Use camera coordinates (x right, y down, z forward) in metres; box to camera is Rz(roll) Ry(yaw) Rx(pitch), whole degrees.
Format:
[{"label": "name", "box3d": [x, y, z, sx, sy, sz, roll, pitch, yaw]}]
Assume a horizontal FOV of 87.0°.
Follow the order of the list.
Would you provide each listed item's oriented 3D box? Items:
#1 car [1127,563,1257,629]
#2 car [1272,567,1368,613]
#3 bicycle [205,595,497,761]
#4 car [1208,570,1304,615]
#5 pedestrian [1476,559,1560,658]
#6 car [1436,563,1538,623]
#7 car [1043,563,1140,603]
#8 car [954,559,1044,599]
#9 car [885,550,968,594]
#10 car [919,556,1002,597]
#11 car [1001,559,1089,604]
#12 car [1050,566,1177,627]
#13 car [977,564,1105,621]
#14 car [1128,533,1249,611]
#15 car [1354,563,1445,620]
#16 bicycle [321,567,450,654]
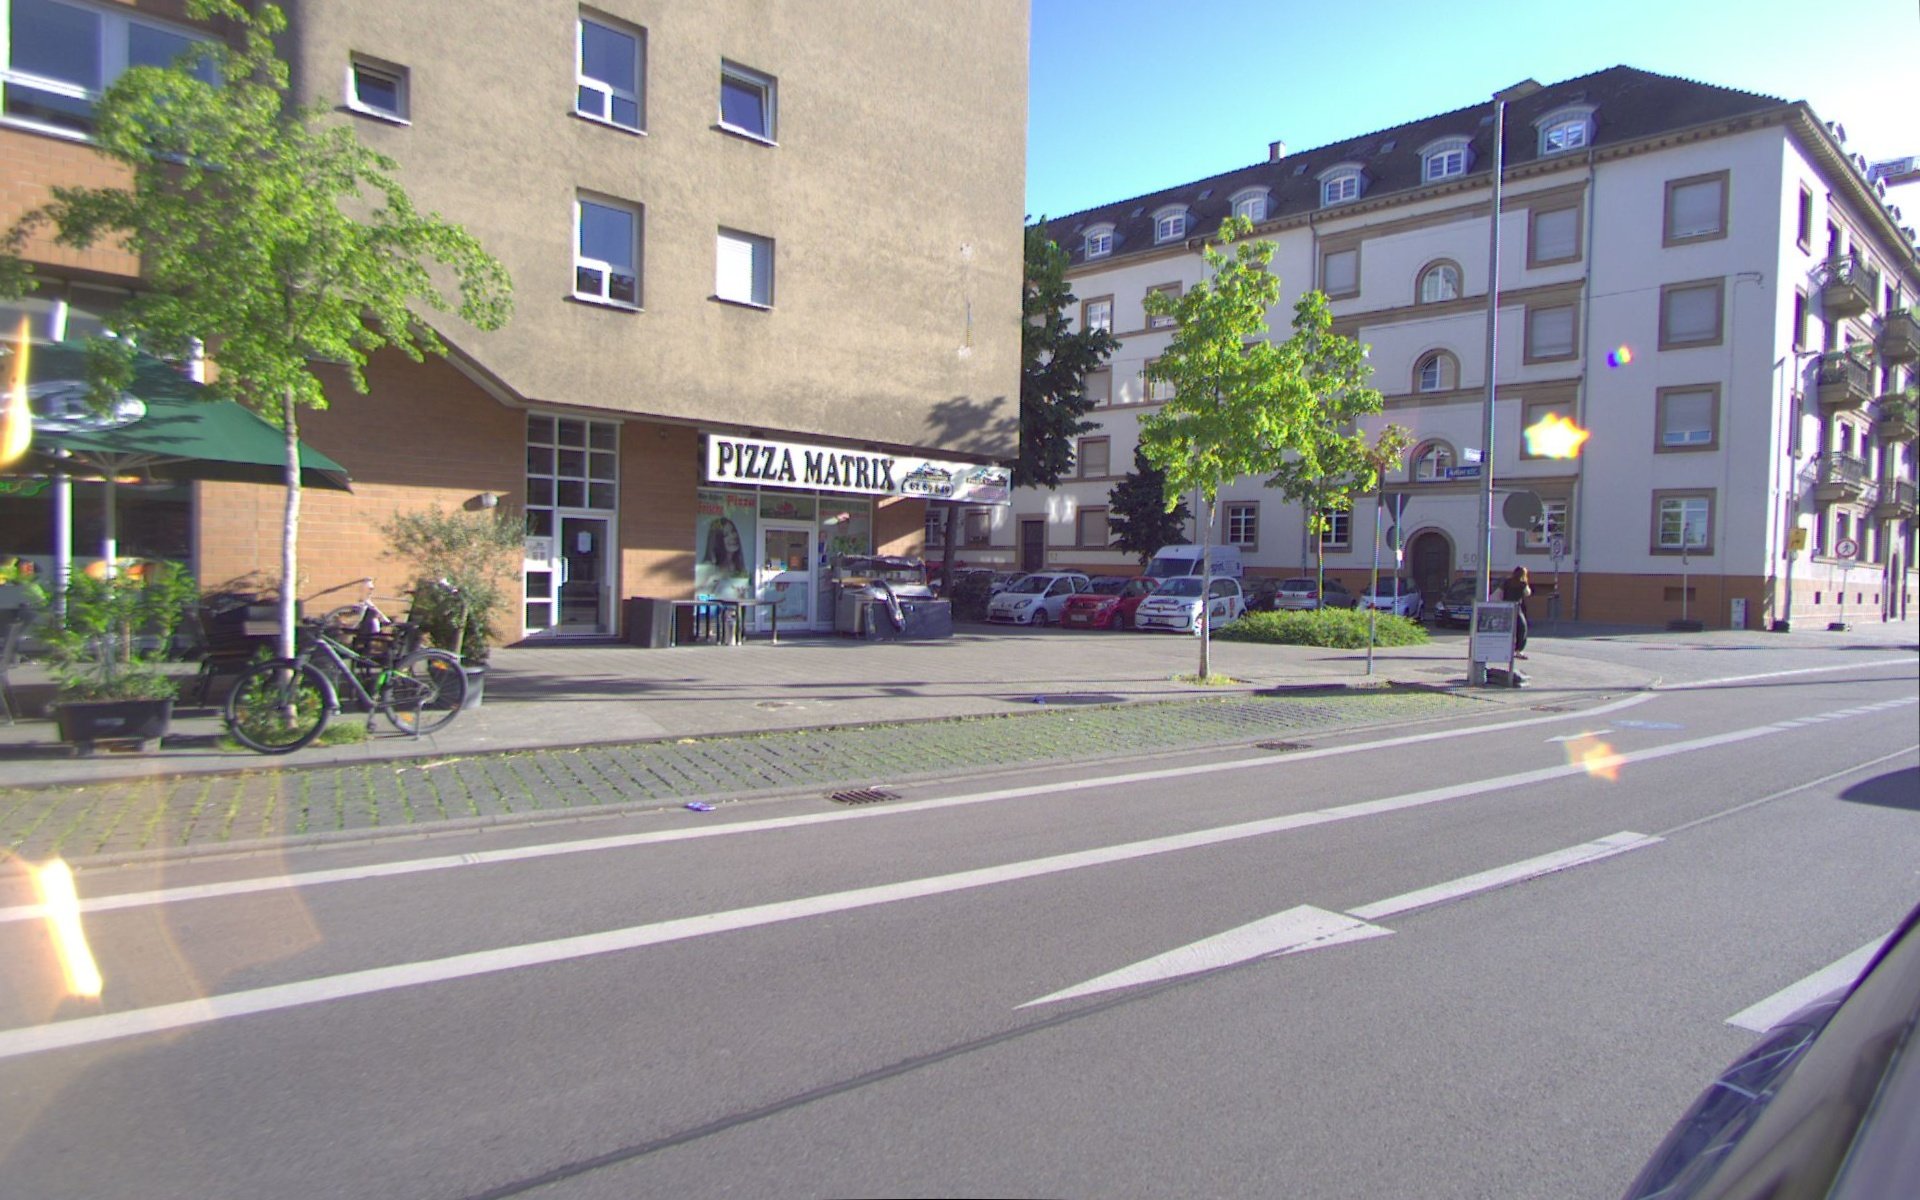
[{"label": "car", "box3d": [5.790, -0.099, 24.975, 1.659, 1.493, 3.783, 0, 0, 39]}, {"label": "car", "box3d": [12.360, -0.378, 34.589, 1.690, 1.447, 4.377, 0, 1, 40]}, {"label": "bicycle", "box3d": [-4.996, 0.573, 8.389, 1.964, 1.093, 0.767, -2, 8, -43]}, {"label": "car", "box3d": [10.731, -0.305, 36.482, 1.690, 1.497, 4.375, 0, 1, 41]}, {"label": "pedestrian", "box3d": [10.576, 0.136, 19.188, 1.083, 1.784, 0.888, 0, 4, -30]}, {"label": "car", "box3d": [16.232, -0.199, 31.088, 1.692, 1.708, 4.371, 0, 0, 43]}, {"label": "car", "box3d": [5.251, -0.664, 40.146, 3.932, 1.509, 1.692, 0, 0, -43]}, {"label": "car", "box3d": [1.728, -0.853, 43.537, 1.690, 1.636, 3.936, 0, 0, 44]}, {"label": "car", "box3d": [-1.534, -1.273, 47.290, 1.689, 1.961, 3.940, 0, 0, 41]}, {"label": "car", "box3d": [0.080, -1.036, 45.719, 1.687, 1.749, 3.944, 0, 0, 38]}, {"label": "car", "box3d": [3.572, -0.727, 41.955, 1.538, 1.761, 3.937, 0, 0, 43]}, {"label": "car", "box3d": [4.052, -0.095, 26.434, 1.630, 1.471, 3.602, 0, 0, 41]}, {"label": "car", "box3d": [2.296, -0.197, 28.075, 1.632, 1.473, 3.675, 0, 0, 44]}, {"label": "car", "box3d": [8.510, -1.123, 37.322, 1.920, 2.640, 5.881, 3, 5, 39]}, {"label": "car", "box3d": [14.418, -0.349, 33.080, 1.620, 1.707, 4.379, 1, 3, 39]}, {"label": "bicycle", "box3d": [-8.329, 0.133, 14.703, 1.511, 1.183, 0.614, 0, 3, -43]}]
